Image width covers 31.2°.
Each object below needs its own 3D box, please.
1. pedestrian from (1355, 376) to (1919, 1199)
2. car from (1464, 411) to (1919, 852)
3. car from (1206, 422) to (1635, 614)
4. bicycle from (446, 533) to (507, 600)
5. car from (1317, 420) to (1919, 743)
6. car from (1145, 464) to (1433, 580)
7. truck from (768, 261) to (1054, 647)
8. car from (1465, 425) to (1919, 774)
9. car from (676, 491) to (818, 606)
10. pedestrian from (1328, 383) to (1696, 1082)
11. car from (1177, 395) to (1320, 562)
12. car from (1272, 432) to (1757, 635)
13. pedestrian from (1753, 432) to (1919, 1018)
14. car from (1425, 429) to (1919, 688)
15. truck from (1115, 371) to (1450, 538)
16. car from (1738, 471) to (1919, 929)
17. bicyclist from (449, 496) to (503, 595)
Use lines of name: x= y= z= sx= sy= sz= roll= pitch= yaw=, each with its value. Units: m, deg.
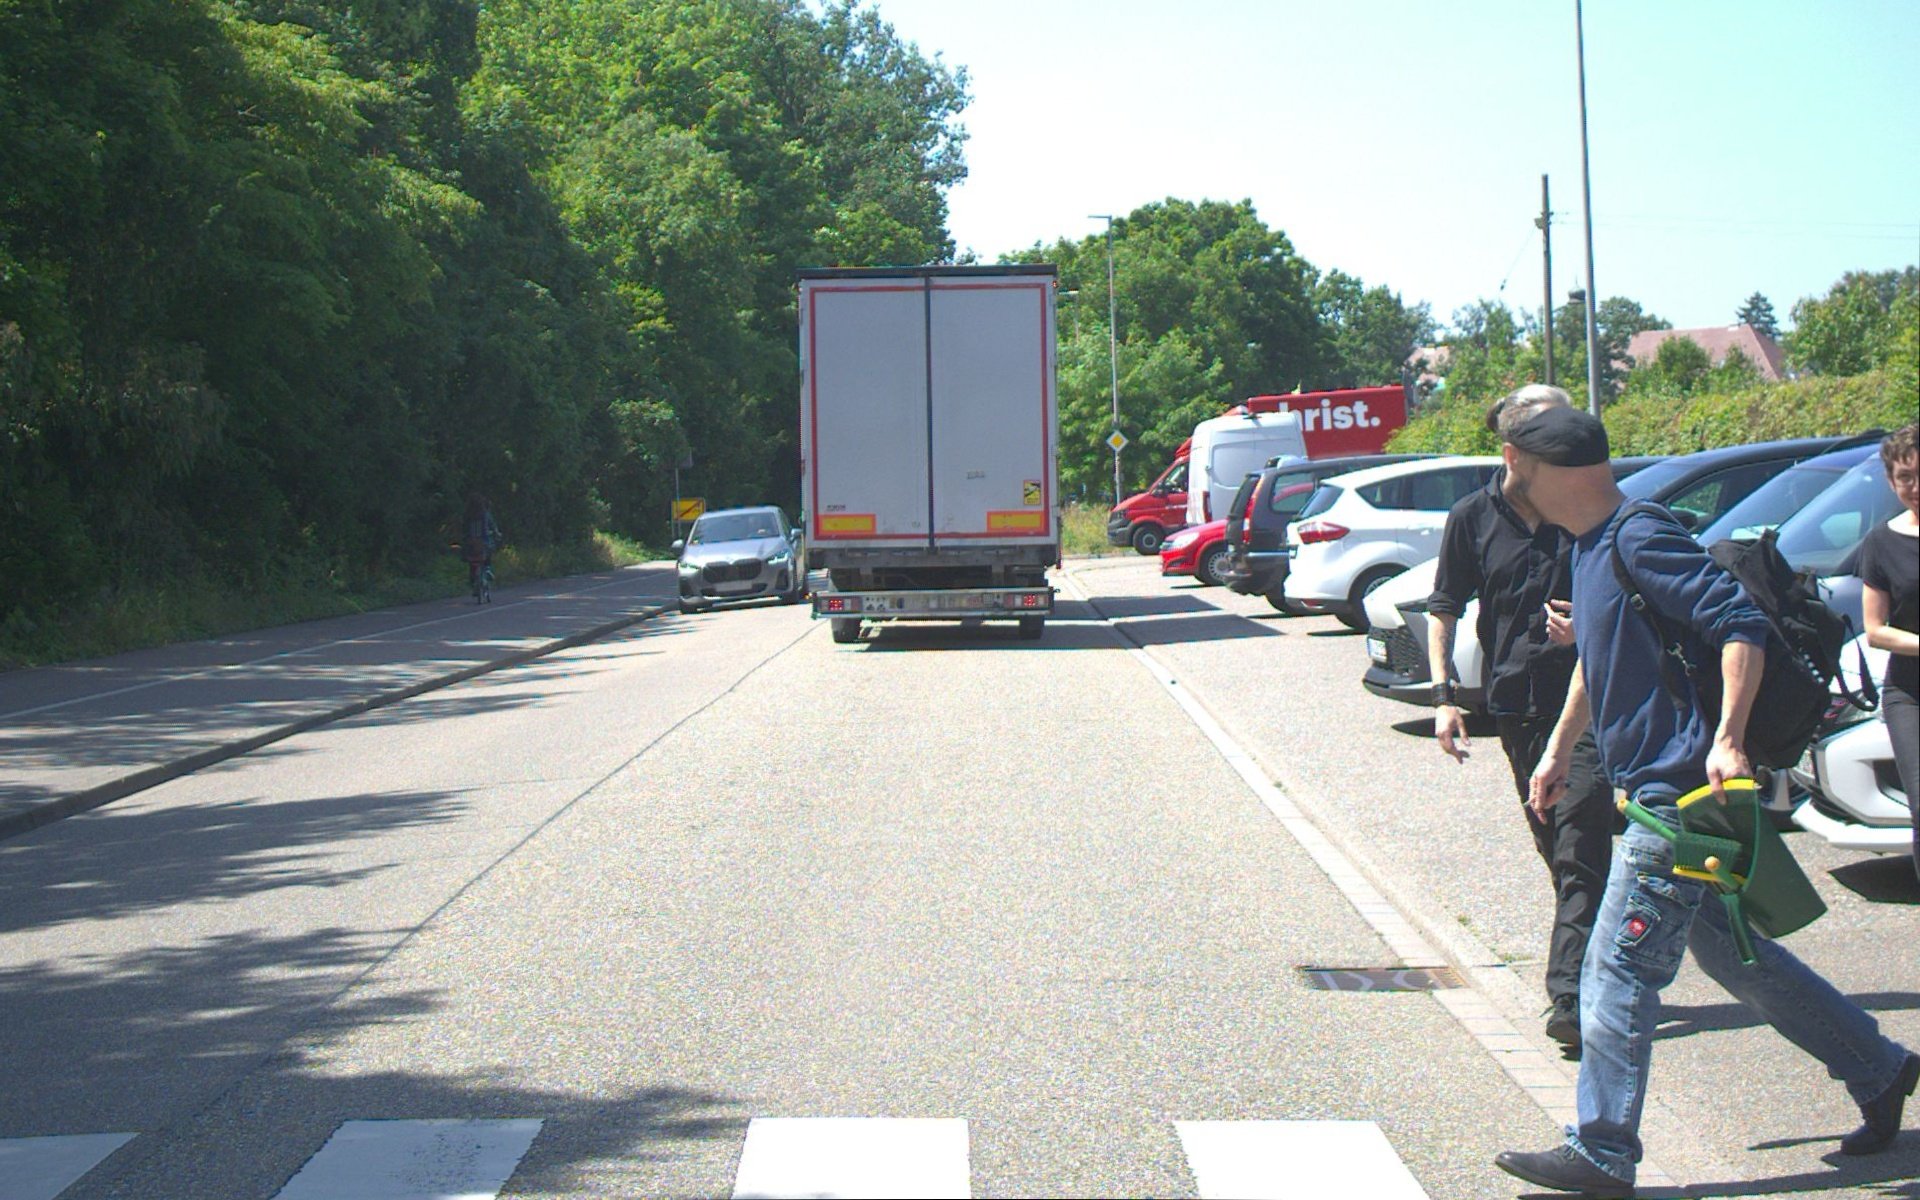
pedestrian: x=1.662 y=0.420 z=7.504 sx=1.154 sy=1.745 sz=1.023 roll=-4 pitch=2 yaw=-21
car: x=4.402 y=-0.012 z=14.973 sx=3.960 sy=1.634 sz=1.664 roll=-6 pitch=2 yaw=-5
car: x=5.230 y=-0.938 z=39.409 sx=4.452 sy=1.798 sz=1.953 roll=-5 pitch=1 yaw=-4
bicycle: x=-7.845 y=-0.557 z=55.825 sx=0.561 sy=1.023 sz=1.839 roll=-2 pitch=2 yaw=4
car: x=4.356 y=-0.163 z=20.766 sx=3.962 sy=1.517 sz=1.865 roll=-6 pitch=2 yaw=-5
car: x=4.973 y=-1.198 z=52.273 sx=4.053 sy=1.429 sz=1.836 roll=-5 pitch=2 yaw=-2
truck: x=-0.368 y=-1.641 z=40.342 sx=2.733 sy=3.732 sz=13.246 roll=-1 pitch=2 yaw=1
car: x=4.569 y=-0.092 z=17.897 sx=3.452 sy=1.521 sz=1.540 roll=-6 pitch=2 yaw=-5
car: x=-3.289 y=-0.840 z=53.780 sx=1.891 sy=1.527 sz=4.197 roll=-6 pitch=2 yaw=-1
pedestrian: x=1.588 y=0.328 z=9.769 sx=0.782 sy=1.858 sz=1.085 roll=0 pitch=2 yaw=23
car: x=5.199 y=-2.233 z=62.801 sx=1.954 sy=2.724 sz=7.168 roll=-4 pitch=2 yaw=1
car: x=5.299 y=-0.659 z=33.204 sx=4.276 sy=1.572 sz=1.766 roll=-5 pitch=2 yaw=-1
pedestrian: x=2.815 y=0.323 z=9.873 sx=0.779 sy=1.605 sz=0.895 roll=-4 pitch=1 yaw=23
car: x=5.027 y=-0.310 z=23.755 sx=3.388 sy=1.498 sz=1.588 roll=-4 pitch=2 yaw=4
truck: x=7.232 y=-3.244 z=76.828 sx=7.140 sy=3.428 sz=2.329 roll=-2 pitch=3 yaw=11
car: x=4.787 y=0.162 z=12.082 sx=3.690 sy=1.445 sz=1.610 roll=-5 pitch=2 yaw=4
bicyclist: x=-7.862 y=-0.889 z=55.841 sx=0.648 sy=1.559 sz=0.837 roll=-2 pitch=2 yaw=4
